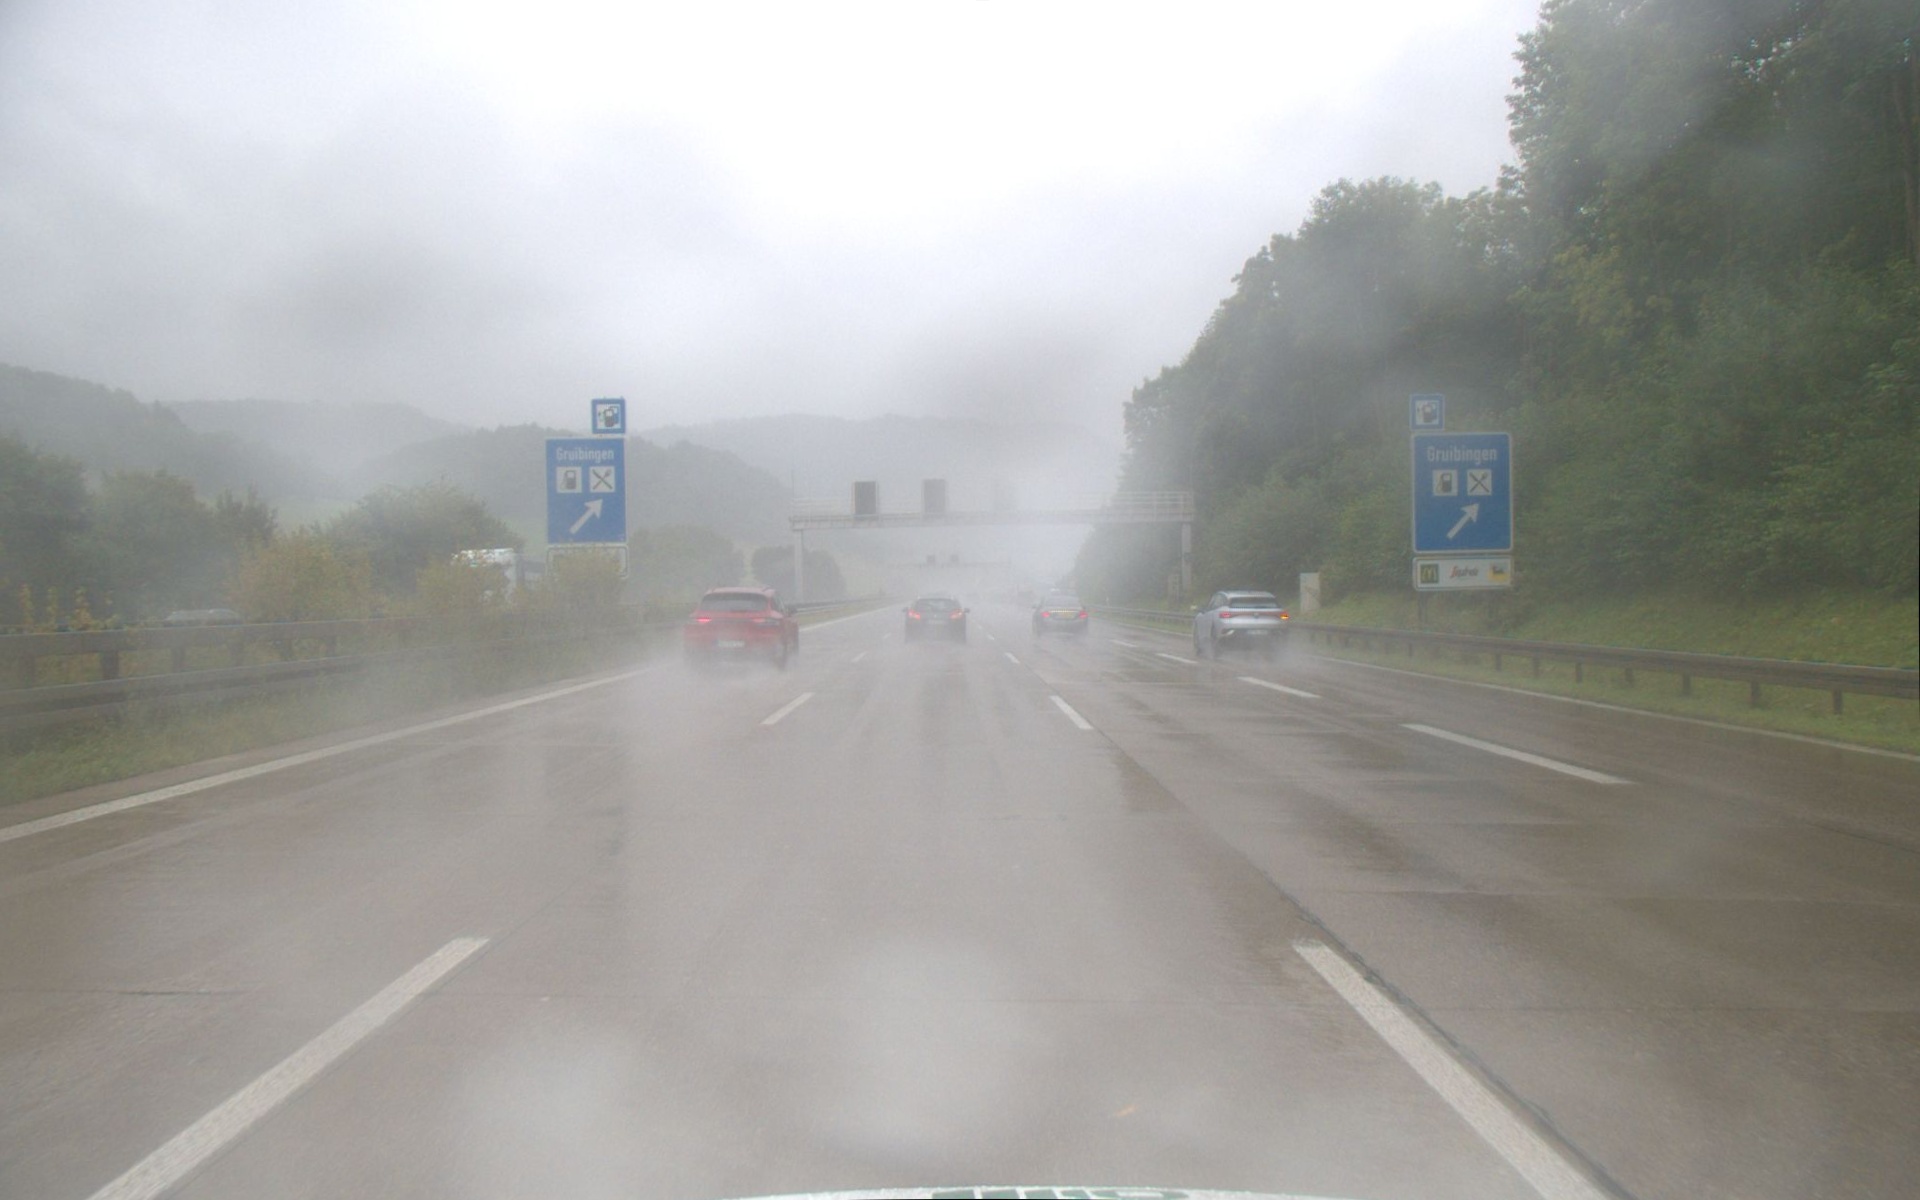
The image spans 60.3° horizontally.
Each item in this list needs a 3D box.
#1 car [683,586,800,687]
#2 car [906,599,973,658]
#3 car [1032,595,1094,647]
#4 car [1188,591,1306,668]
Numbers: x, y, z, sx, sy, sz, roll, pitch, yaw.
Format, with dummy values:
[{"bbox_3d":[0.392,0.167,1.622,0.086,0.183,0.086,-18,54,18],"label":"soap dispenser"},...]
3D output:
[{"bbox_3d":[-4.192,0.653,32.307,1.846,1.847,3.999,0,0,-2],"label":"car"},{"bbox_3d":[-0.587,0.806,48.061,1.821,1.617,3.999,1,0,-1],"label":"car"},{"bbox_3d":[3.690,0.743,59.850,1.931,1.791,4.000,0,0,-1],"label":"car"},{"bbox_3d":[7.181,0.699,42.015,1.953,1.781,5.662,1,0,0],"label":"car"}]
